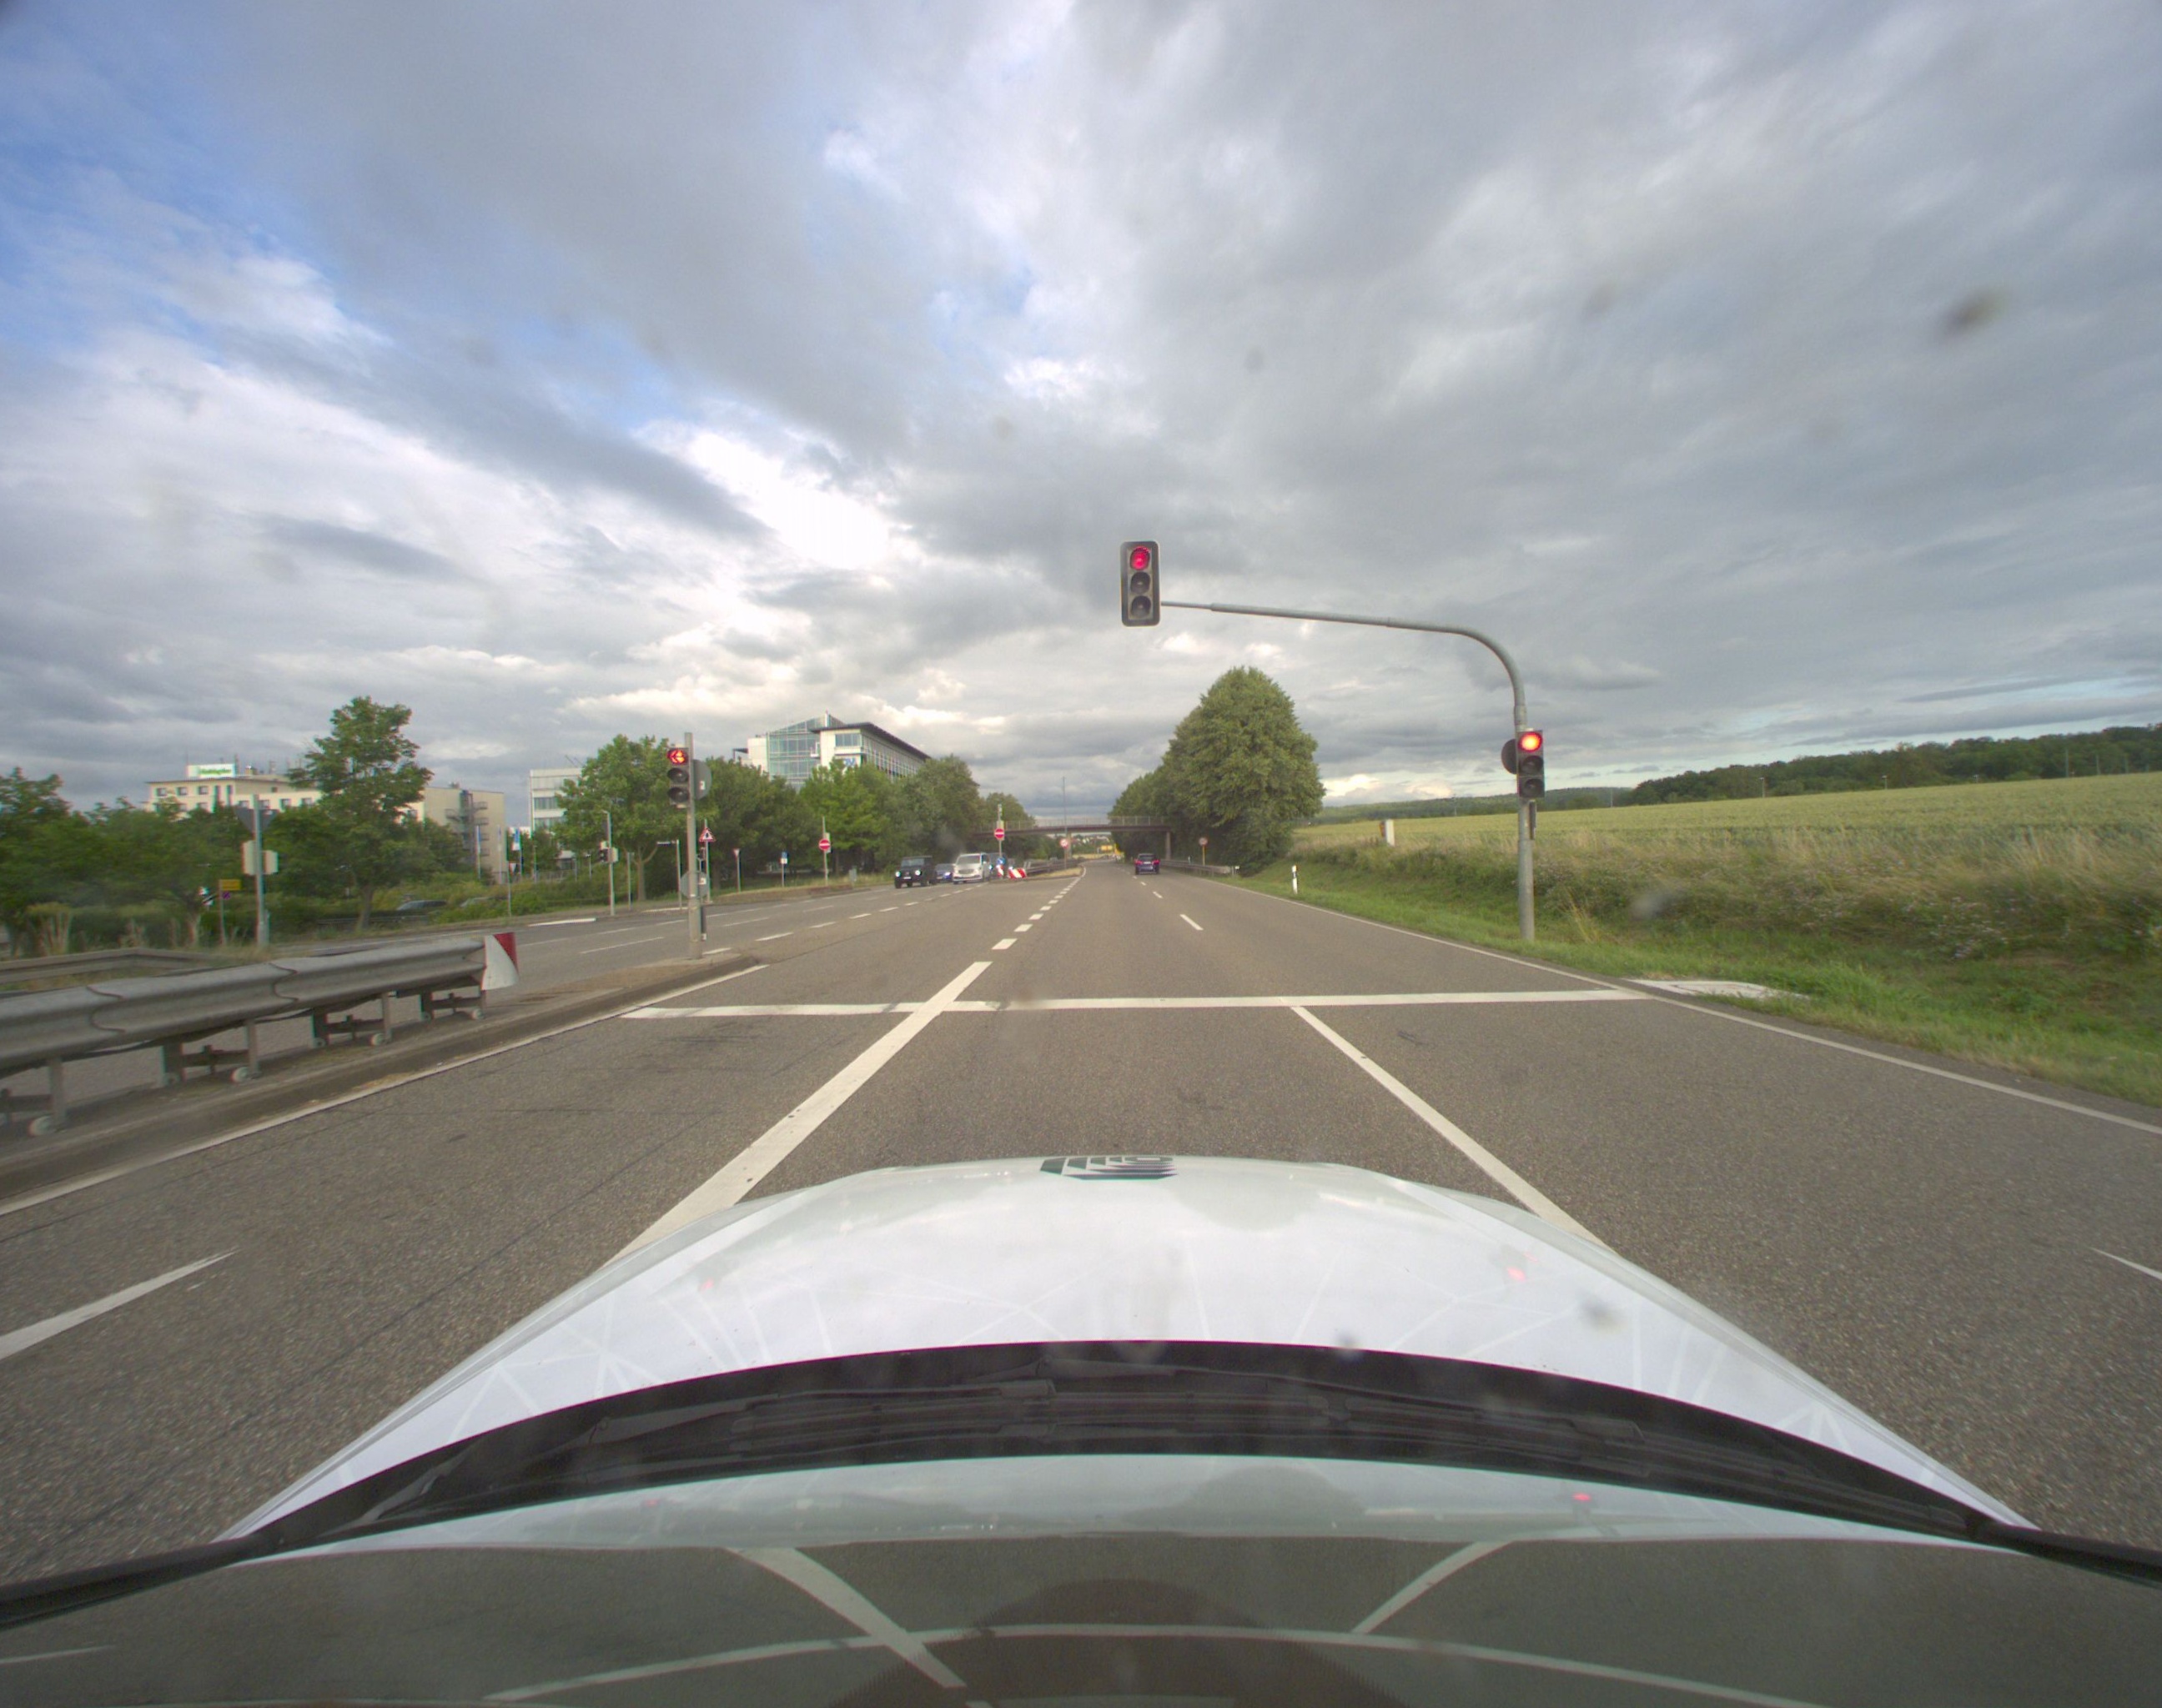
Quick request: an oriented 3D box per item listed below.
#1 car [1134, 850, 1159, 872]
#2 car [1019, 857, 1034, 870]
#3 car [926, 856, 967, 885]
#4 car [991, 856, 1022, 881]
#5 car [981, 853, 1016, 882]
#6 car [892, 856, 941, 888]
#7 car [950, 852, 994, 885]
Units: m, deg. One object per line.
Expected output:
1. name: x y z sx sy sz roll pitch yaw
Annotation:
1. car: 4.918 0.535 61.353 1.871 1.552 4.004 0 0 4
2. car: -8.828 1.515 132.927 2.076 2.014 5.216 0 0 1
3. car: -9.941 1.182 60.490 2.076 2.014 5.216 0 0 1
4. car: -6.186 1.219 68.319 2.076 2.014 5.216 0 0 1
5. car: -6.100 0.995 60.748 2.076 2.014 5.216 0 0 1
6. car: -10.634 1.131 53.001 2.076 2.014 5.216 0 0 1
7. car: -7.014 0.900 53.028 2.076 2.014 5.216 0 0 1
